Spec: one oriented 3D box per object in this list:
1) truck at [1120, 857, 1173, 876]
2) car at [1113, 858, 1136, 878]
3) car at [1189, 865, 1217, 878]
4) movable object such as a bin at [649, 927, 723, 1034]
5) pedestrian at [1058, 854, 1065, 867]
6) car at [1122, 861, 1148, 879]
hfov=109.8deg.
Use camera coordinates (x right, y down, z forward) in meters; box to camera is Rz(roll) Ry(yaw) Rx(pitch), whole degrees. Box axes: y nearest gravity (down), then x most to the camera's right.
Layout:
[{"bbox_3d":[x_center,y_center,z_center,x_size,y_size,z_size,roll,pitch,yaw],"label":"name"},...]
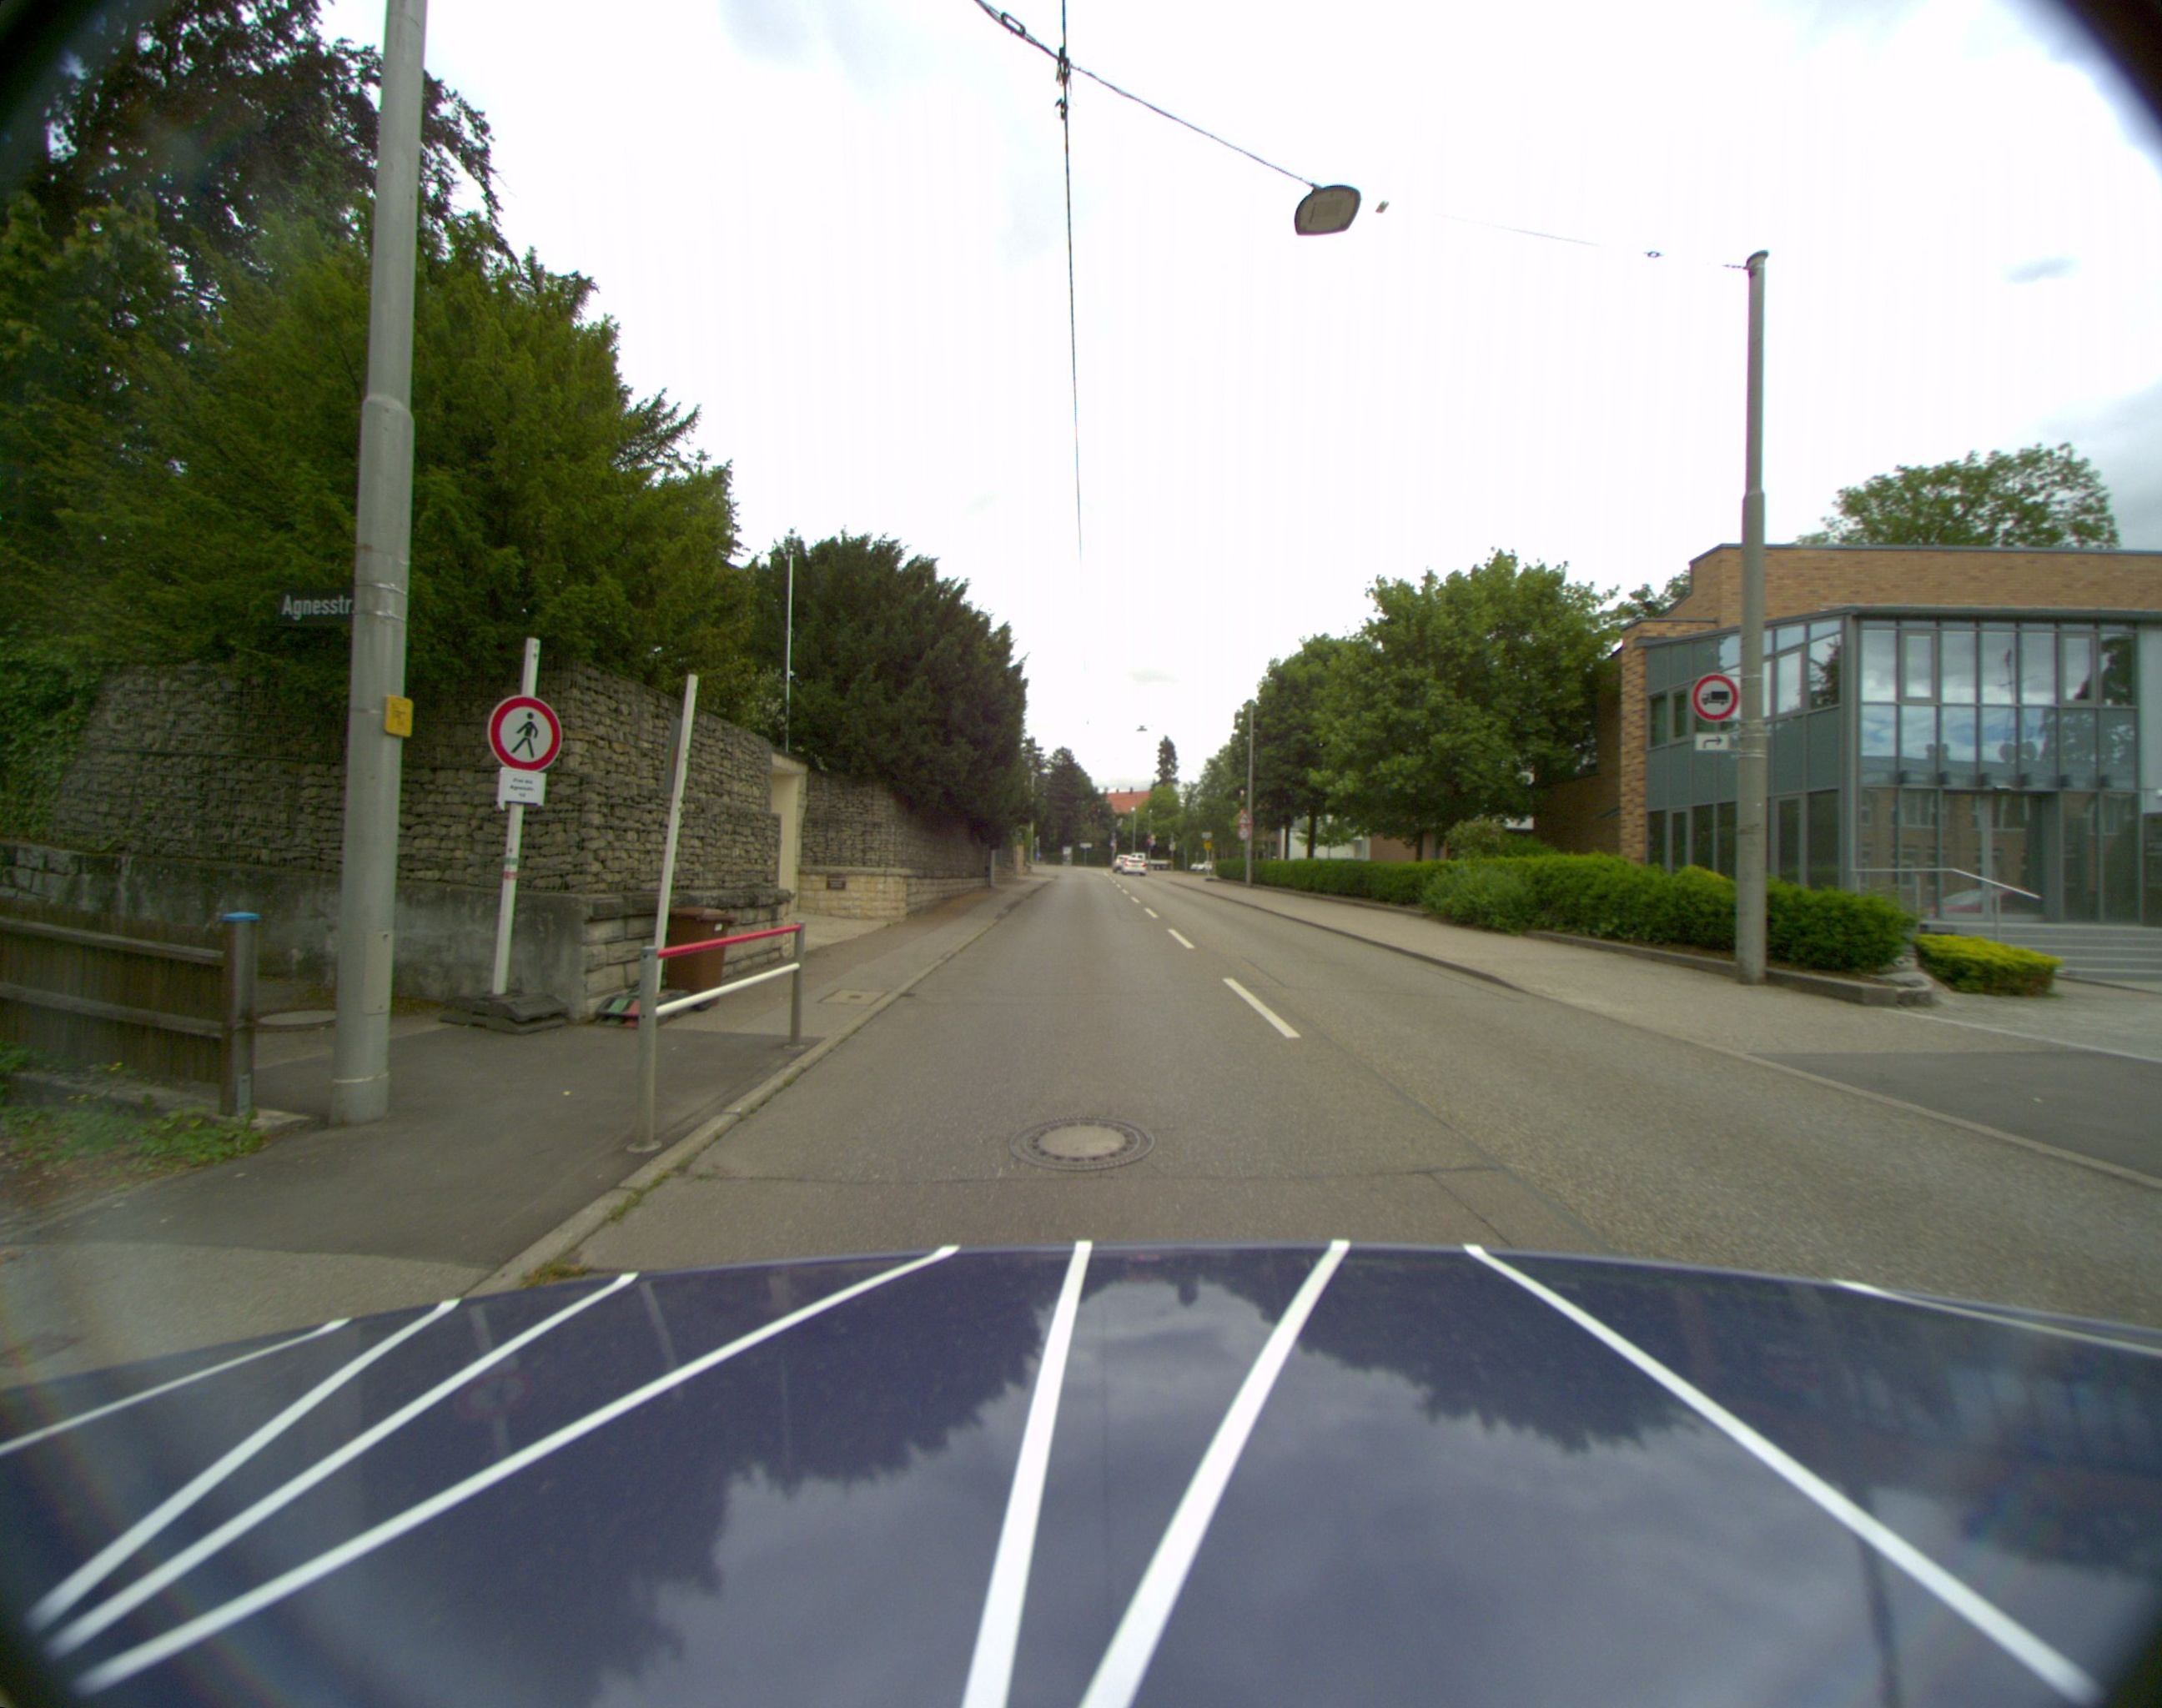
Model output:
[{"bbox_3d":[8.691,1.630,100.790,6.706,2.176,2.532,3,0,11],"label":"truck"},{"bbox_3d":[3.894,1.214,68.943,1.773,1.628,4.302,4,0,0],"label":"car"},{"bbox_3d":[16.573,2.395,103.247,1.994,1.603,4.010,3,-1,39],"label":"car"},{"bbox_3d":[-3.625,1.147,6.991,0.446,0.904,0.394,1,0,10],"label":"movable object such as a bin"},{"bbox_3d":[-2.647,0.930,105.186,0.665,1.777,0.614,3,0,29],"label":"pedestrian"},{"bbox_3d":[4.390,1.281,62.317,1.771,1.413,4.065,1,0,0],"label":"car"}]
